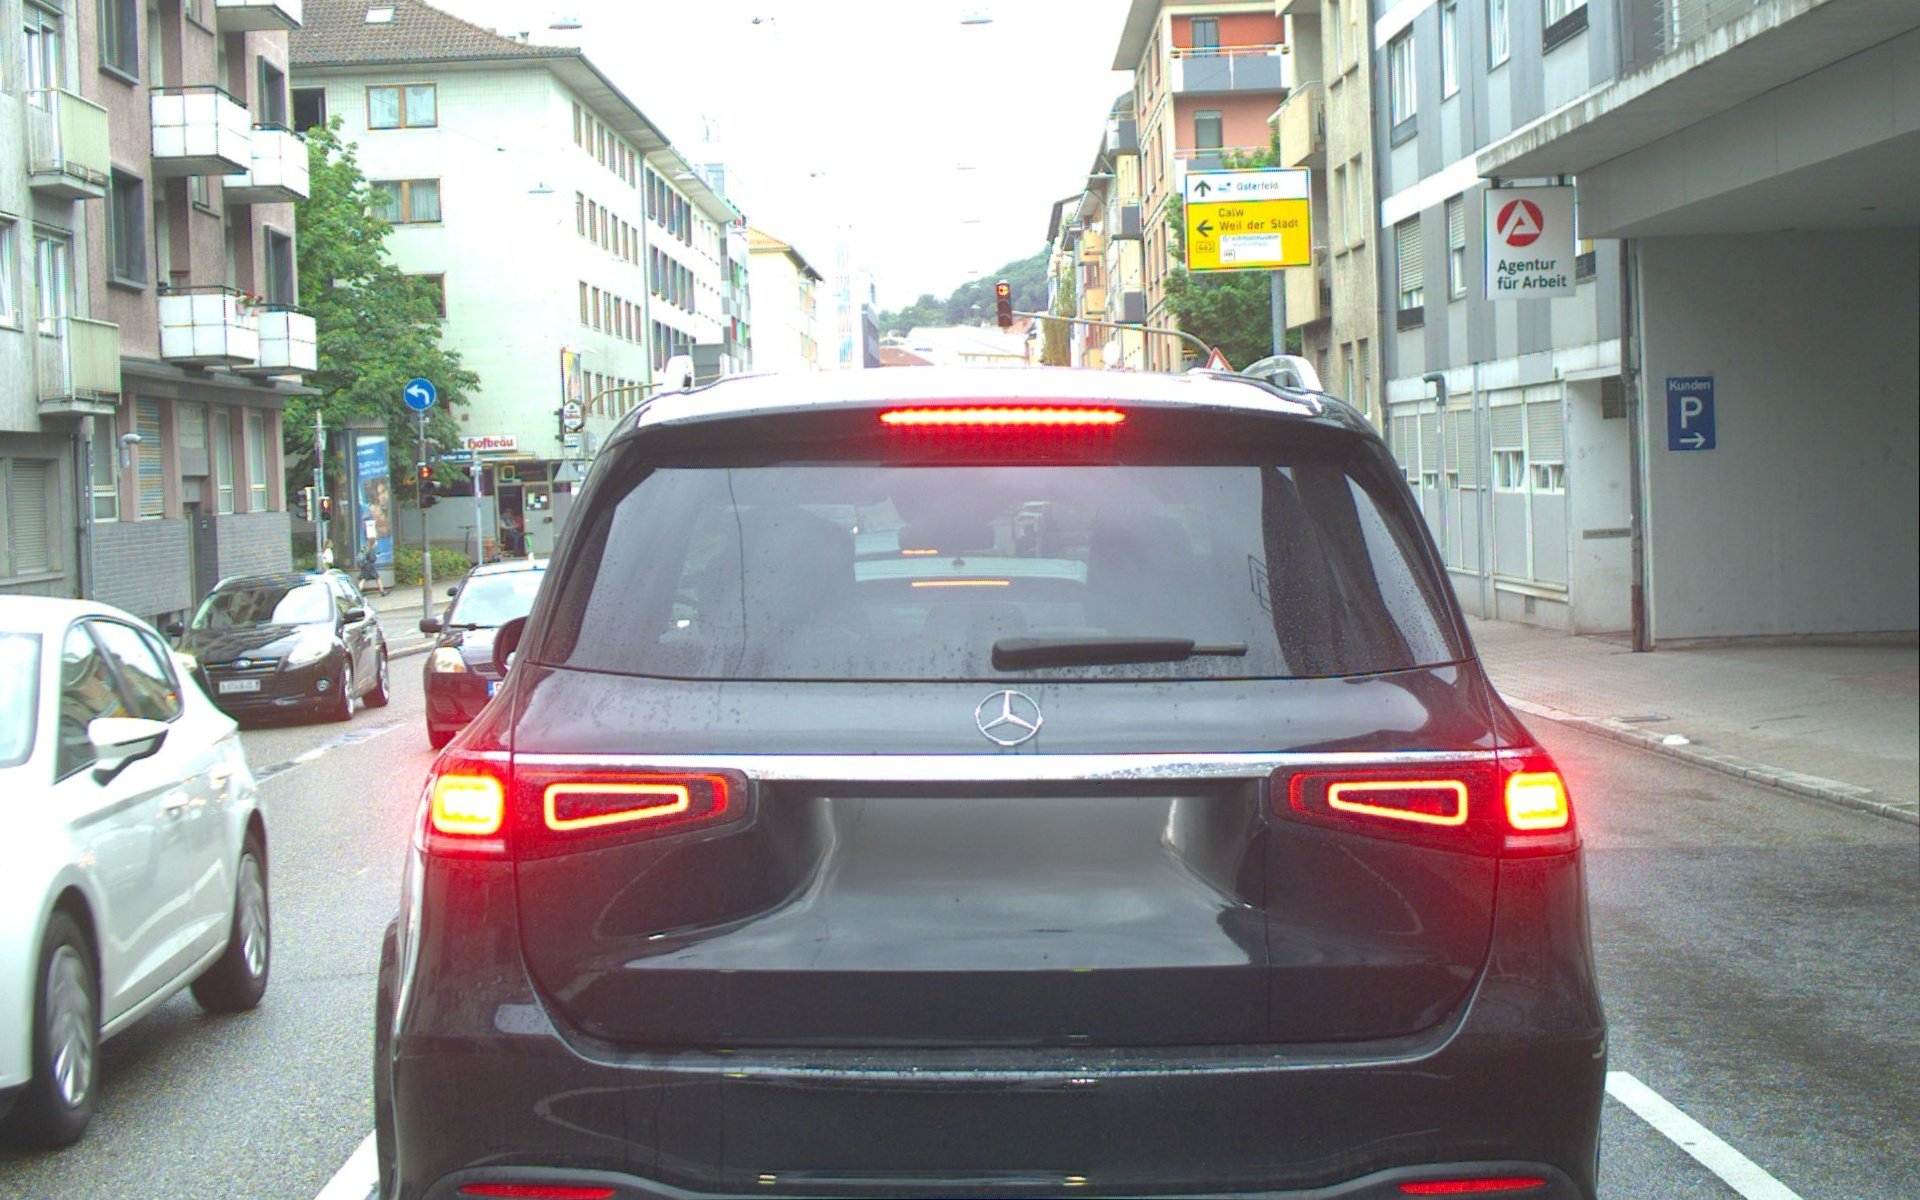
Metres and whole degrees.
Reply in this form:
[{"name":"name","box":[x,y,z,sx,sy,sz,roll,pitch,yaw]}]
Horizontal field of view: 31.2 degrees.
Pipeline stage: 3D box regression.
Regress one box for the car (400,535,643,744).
[{"name":"car","box":[-3.612,0.286,28.898,1.618,1.534,4.218,-3,1,-3]}]

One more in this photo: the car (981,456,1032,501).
[{"name":"car","box":[1.796,-4.705,133.314,1.618,1.534,4.218,-3,1,-3]}]

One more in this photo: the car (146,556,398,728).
[{"name":"car","box":[-6.841,0.365,34.582,1.723,1.468,4.375,-4,1,-2]}]

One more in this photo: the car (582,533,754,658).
[{"name":"car","box":[-3.555,-0.067,42.500,1.695,1.365,4.218,-4,0,0]}]

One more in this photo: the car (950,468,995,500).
[{"name":"car","box":[0.593,-5.644,167.721,1.885,1.367,4.218,-3,1,-3]}]

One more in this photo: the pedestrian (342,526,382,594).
[{"name":"pedestrian","box":[-15.771,-1.044,90.711,0.636,1.758,0.772,-3,2,-44]}]

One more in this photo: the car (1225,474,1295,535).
[{"name":"car","box":[8.228,-2.623,94.583,1.671,1.583,3.330,-2,1,2]}]

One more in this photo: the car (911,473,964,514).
[{"name":"car","box":[-0.887,-4.129,133.541,1.993,1.483,4.000,-2,1,-1]}]

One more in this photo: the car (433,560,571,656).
[{"name":"car","box":[-7.341,0.102,55.390,1.694,1.365,4.367,-4,1,-2]}]

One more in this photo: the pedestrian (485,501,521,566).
[{"name":"pedestrian","box":[-13.551,-1.977,101.944,0.923,1.895,0.706,-2,1,-2]}]

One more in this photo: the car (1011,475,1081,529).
[{"name":"car","box":[2.436,-2.775,97.860,1.618,1.382,4.218,-3,1,-3]}]

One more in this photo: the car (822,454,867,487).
[{"name":"car","box":[-5.194,-5.776,153.851,1.885,1.260,4.218,-3,1,-3]}]

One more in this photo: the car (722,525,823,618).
[{"name":"car","box":[-3.464,-0.516,64.120,1.694,1.575,4.218,-4,0,-2]}]

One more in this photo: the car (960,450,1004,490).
[{"name":"car","box":[0.962,-5.712,151.690,1.618,1.534,4.218,-3,1,-3]}]

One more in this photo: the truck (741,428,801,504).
[{"name":"truck","box":[-8.609,-6.069,156.983,2.479,3.035,9.921,-3,1,-3]}]

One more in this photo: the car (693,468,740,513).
[{"name":"car","box":[-9.315,-4.175,131.566,1.618,1.534,4.218,-3,1,-3]}]

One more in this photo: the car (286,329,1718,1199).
[{"name":"car","box":[0.032,0.512,6.998,1.985,1.799,4.390,1,1,-1]}]

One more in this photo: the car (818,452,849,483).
[{"name":"car","box":[-7.140,-7.460,193.611,1.618,1.534,4.218,-3,1,-3]}]

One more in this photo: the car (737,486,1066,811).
[{"name":"car","box":[-0.418,0.244,20.811,1.751,1.725,4.218,-1,1,-3]}]

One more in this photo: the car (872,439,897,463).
[{"name":"car","box":[-5.468,-10.837,250.147,1.618,1.534,4.218,-3,1,-3]}]

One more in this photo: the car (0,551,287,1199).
[{"name":"car","box":[-3.211,0.683,9.963,1.744,1.534,4.053,-3,1,-2]}]
